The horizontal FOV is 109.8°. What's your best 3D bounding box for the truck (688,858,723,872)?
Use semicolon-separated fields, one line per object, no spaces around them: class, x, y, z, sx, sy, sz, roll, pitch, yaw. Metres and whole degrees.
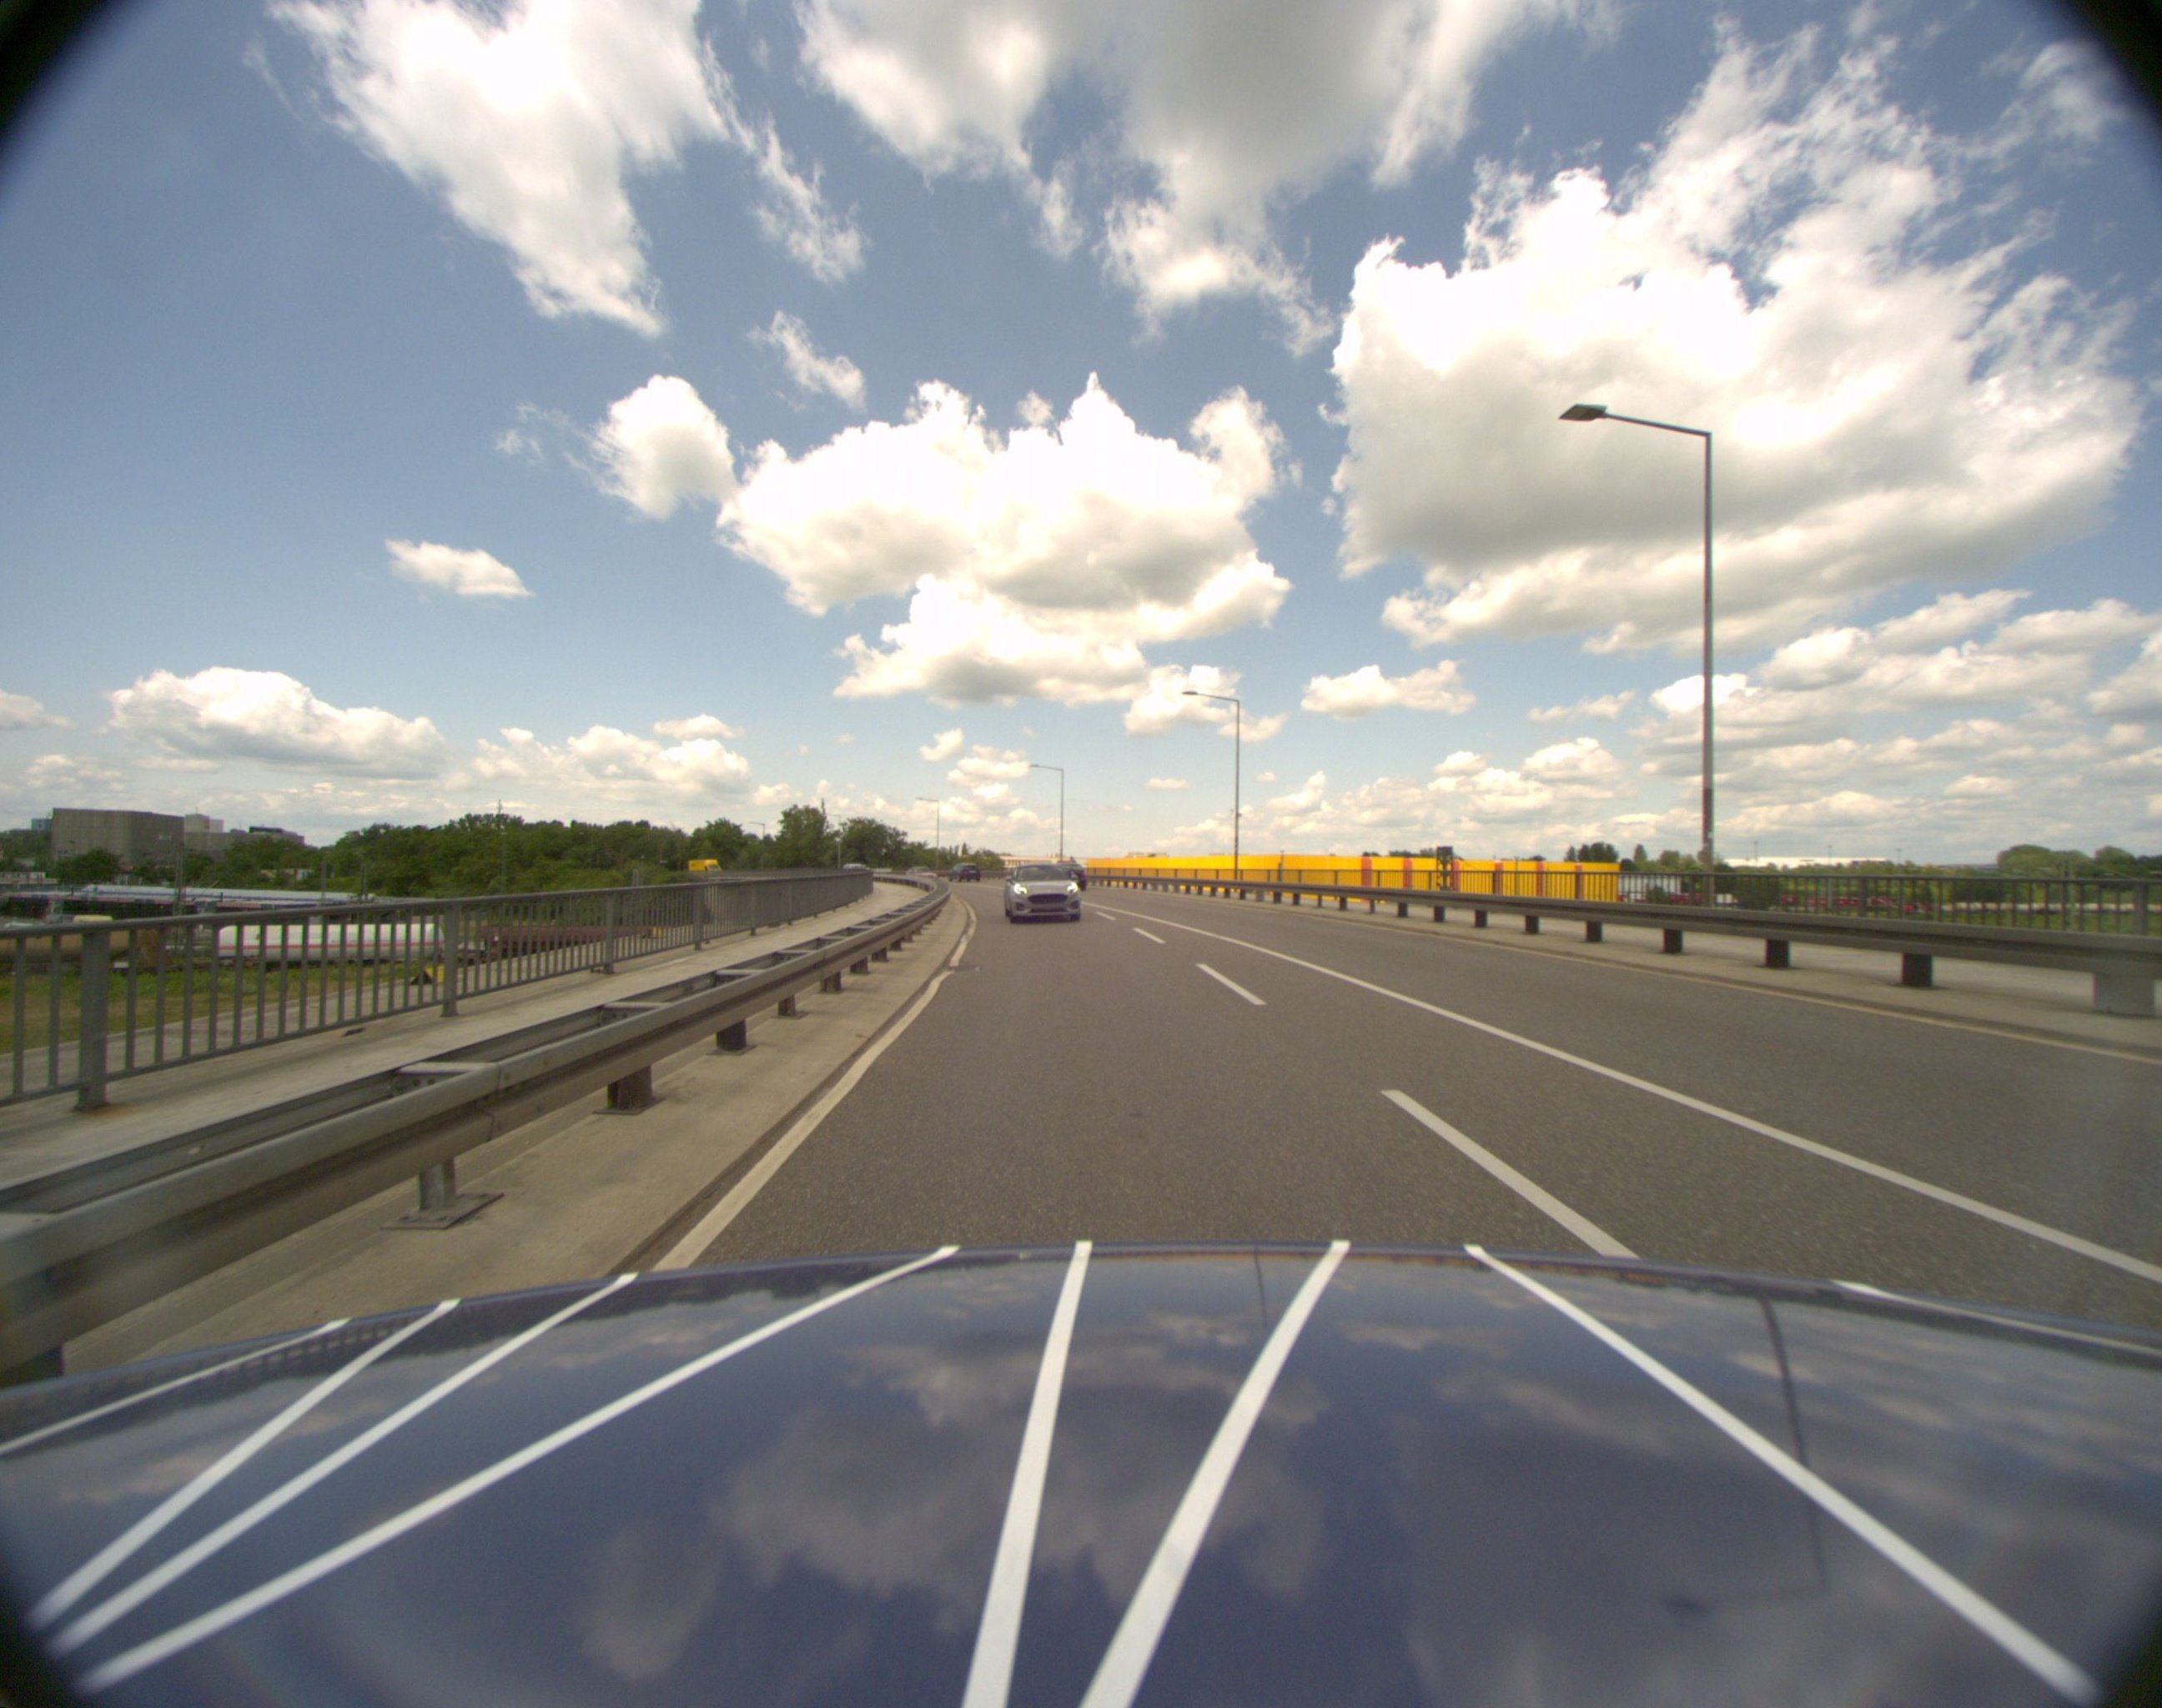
truck;-56.262;1.581;113.811;6.127;2.002;2.004;0;0;36

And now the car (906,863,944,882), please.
car;-11.931;1.366;57.890;1.832;1.330;3.991;0;0;-28

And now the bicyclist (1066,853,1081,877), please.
bicyclist;-0.527;0.752;52.370;0.770;1.593;0.946;-1;0;-19

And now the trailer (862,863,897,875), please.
trailer;-22.383;1.683;84.390;2.055;1.202;5.968;-1;0;-32

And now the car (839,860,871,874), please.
car;-23.643;1.397;79.389;1.962;1.330;3.990;-3;1;-35

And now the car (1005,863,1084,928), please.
car;-1.092;1.045;20.641;1.829;1.516;3.998;-2;0;-7

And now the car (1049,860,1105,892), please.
car;-0.263;1.060;37.939;1.821;1.443;3.921;-2;0;-14

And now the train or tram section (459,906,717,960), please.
train or tram section;-42.596;6.830;66.753;18.911;4.130;3.215;1;2;-15

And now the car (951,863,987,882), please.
car;-9.098;1.461;61.525;1.825;1.442;4.729;-1;-1;-21

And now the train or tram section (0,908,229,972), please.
train or tram section;-76.542;6.398;56.751;17.714;4.130;3.206;1;2;-20

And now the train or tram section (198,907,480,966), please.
train or tram section;-59.940;6.605;62.101;16.975;4.130;3.212;1;2;-15
